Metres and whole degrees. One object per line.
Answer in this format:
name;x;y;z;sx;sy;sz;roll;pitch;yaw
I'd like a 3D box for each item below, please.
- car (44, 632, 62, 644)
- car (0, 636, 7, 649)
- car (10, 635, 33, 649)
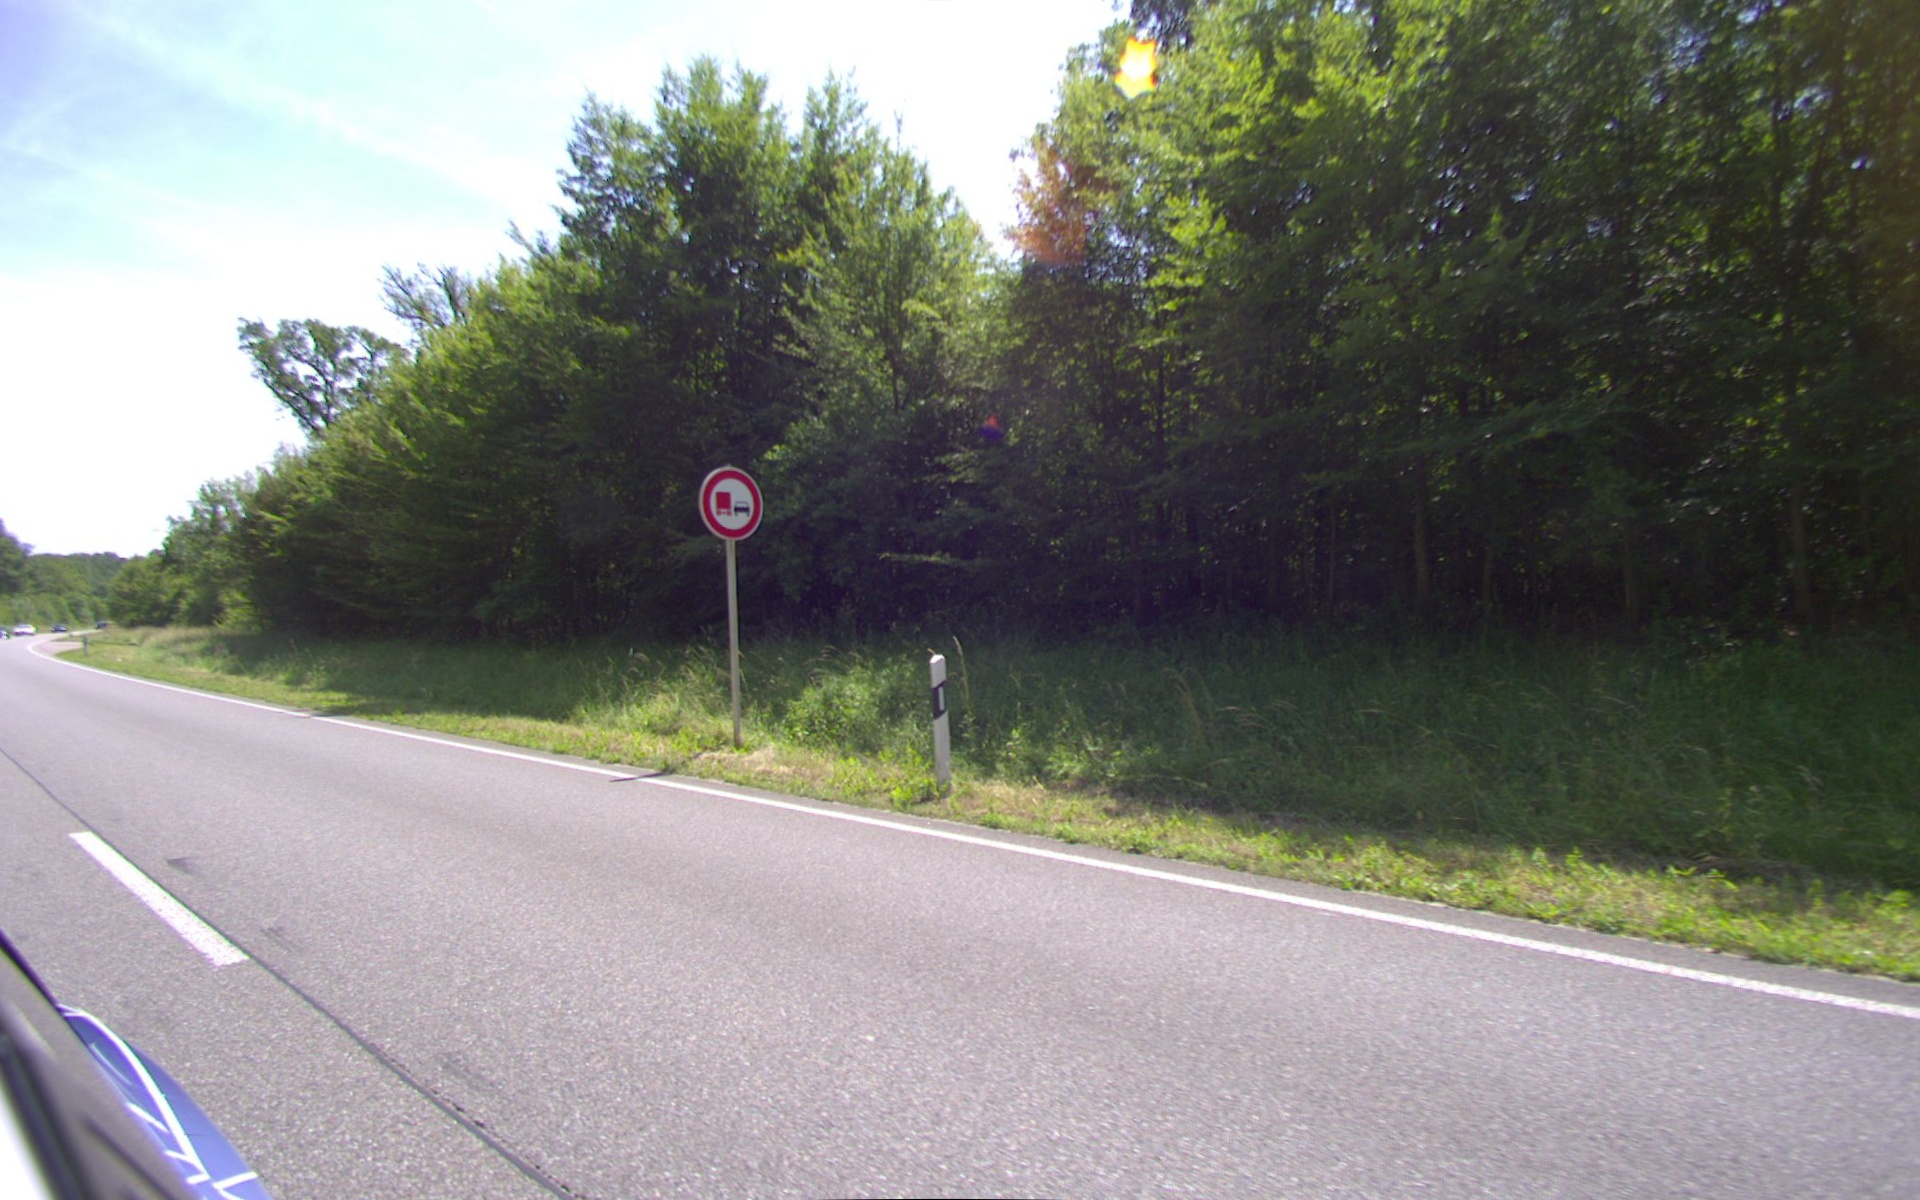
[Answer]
car;-146.241;6.123;163.203;1.666;1.741;4.010;0;-1;-35
car;-109.711;4.868;115.020;1.749;1.474;4.007;0;-1;-39
car;-126.530;5.667;136.494;1.988;1.761;4.389;0;-1;-38
